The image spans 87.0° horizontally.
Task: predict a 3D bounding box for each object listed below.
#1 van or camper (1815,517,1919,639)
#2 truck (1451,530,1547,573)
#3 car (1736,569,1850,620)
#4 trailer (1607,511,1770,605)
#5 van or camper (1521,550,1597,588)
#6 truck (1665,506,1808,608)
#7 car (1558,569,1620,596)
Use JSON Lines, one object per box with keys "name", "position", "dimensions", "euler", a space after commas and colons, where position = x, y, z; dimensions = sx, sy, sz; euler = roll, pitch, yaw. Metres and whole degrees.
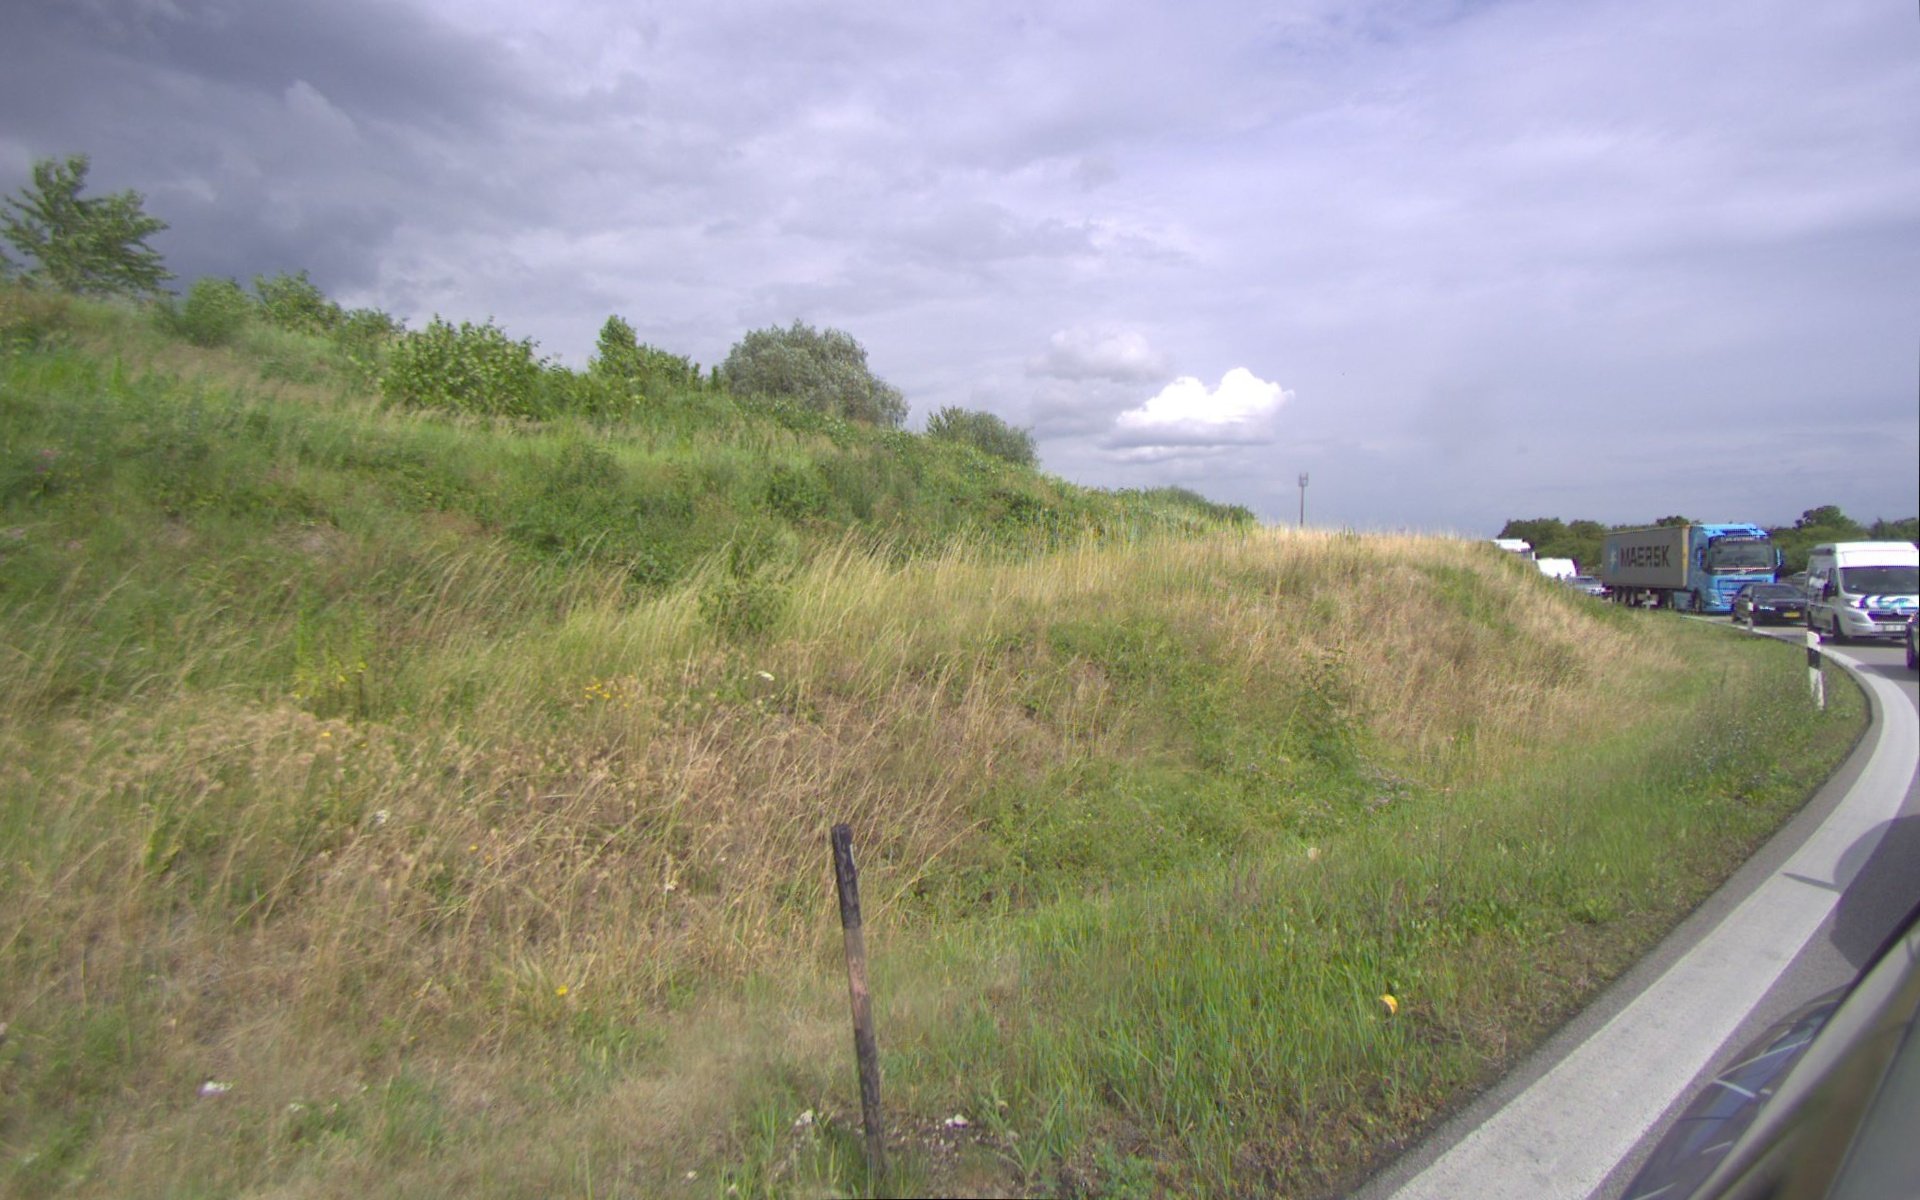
{"name": "van or camper", "position": [24.524, -0.591, 26.819], "dimensions": [2.384, 2.945, 5.648], "euler": [0, 1, 36]}
{"name": "truck", "position": [43.539, -3.845, 82.229], "dimensions": [3.072, 3.279, 11.142], "euler": [0, 2, 7]}
{"name": "car", "position": [29.403, -0.258, 35.875], "dimensions": [1.977, 1.638, 3.972], "euler": [1, 2, 22]}
{"name": "trailer", "position": [36.480, -1.977, 51.387], "dimensions": [3.233, 4.213, 11.946], "euler": [-1, 1, 19]}
{"name": "van or camper", "position": [40.449, -2.138, 68.557], "dimensions": [2.512, 2.237, 5.700], "euler": [-1, 4, 10]}
{"name": "truck", "position": [34.242, -1.819, 44.961], "dimensions": [3.141, 4.124, 6.603], "euler": [-1, 1, 20]}
{"name": "car", "position": [39.008, -1.089, 62.862], "dimensions": [1.969, 1.548, 3.988], "euler": [0, 3, 12]}
